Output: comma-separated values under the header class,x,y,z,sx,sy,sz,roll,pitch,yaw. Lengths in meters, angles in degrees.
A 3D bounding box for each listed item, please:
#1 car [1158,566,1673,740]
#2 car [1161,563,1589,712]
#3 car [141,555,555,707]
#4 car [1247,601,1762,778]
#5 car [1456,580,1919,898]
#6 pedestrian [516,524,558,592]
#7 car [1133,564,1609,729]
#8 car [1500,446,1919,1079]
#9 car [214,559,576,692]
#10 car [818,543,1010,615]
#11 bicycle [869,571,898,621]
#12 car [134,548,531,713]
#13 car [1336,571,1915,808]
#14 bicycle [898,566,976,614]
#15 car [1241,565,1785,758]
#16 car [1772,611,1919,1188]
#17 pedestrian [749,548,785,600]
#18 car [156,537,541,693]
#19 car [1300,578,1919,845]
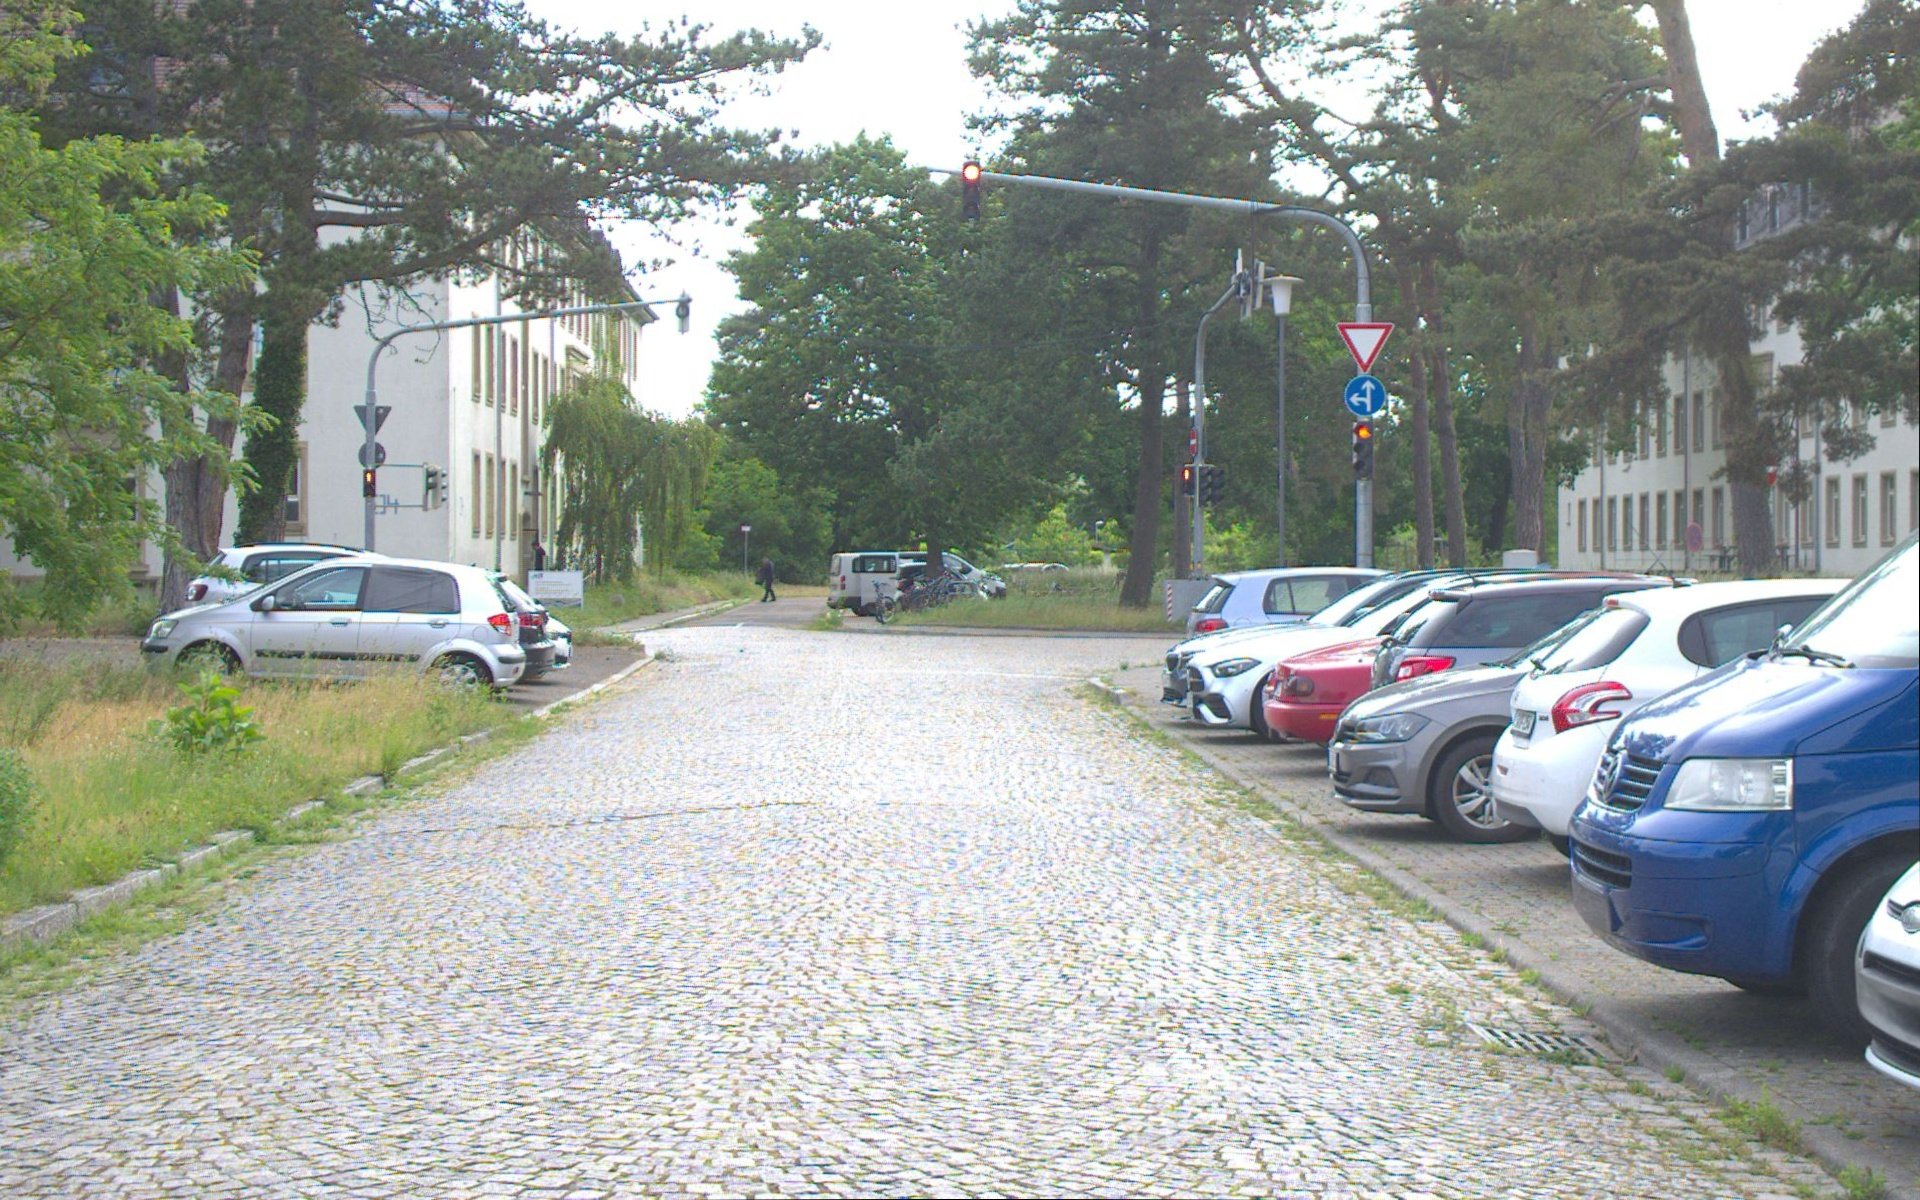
class,x,y,z,sx,sy,sz,roll,pitch,yaw
car,3.983,0.439,30.394,4.184,1.432,1.756,-1,1,-8
car,4.278,0.366,35.720,4.134,1.458,1.634,-1,1,-6
car,-6.555,0.308,37.202,4.297,1.548,1.812,-1,1,-7
car,4.008,0.647,25.691,3.586,1.218,1.628,-1,1,0
car,4.472,0.651,17.298,3.653,1.474,1.766,-1,1,-1
pedestrian,-12.307,-1.222,100.065,1.074,1.952,1.121,2,0,-1
car,3.935,0.417,33.161,4.227,1.474,1.710,-1,1,-12
car,4.471,0.477,11.986,4.795,1.997,1.966,-1,1,-3
car,-6.928,0.292,42.457,4.297,1.548,1.812,-1,1,-7
car,-1.382,-0.632,102.554,5.374,2.094,2.179,0,1,-13
bicycle,-1.840,-0.109,83.107,0.663,1.167,1.888,2,0,-1
car,-6.261,0.291,34.610,3.720,1.476,1.673,2,1,-4
car,4.397,0.569,23.070,3.505,1.482,1.743,-1,1,-1
bicycle,-0.590,-0.256,87.762,1.881,1.167,0.665,2,0,-6
car,4.452,0.479,28.039,4.104,1.471,1.685,-1,1,-3
car,4.509,0.765,9.444,4.097,1.474,1.722,-1,1,-4
pedestrian,-7.440,-0.995,132.395,1.239,1.952,1.121,2,0,-6
car,-7.057,0.153,39.998,4.297,1.726,1.653,-1,1,-6
car,4.164,0.619,20.198,4.130,1.442,1.766,-1,1,-1
